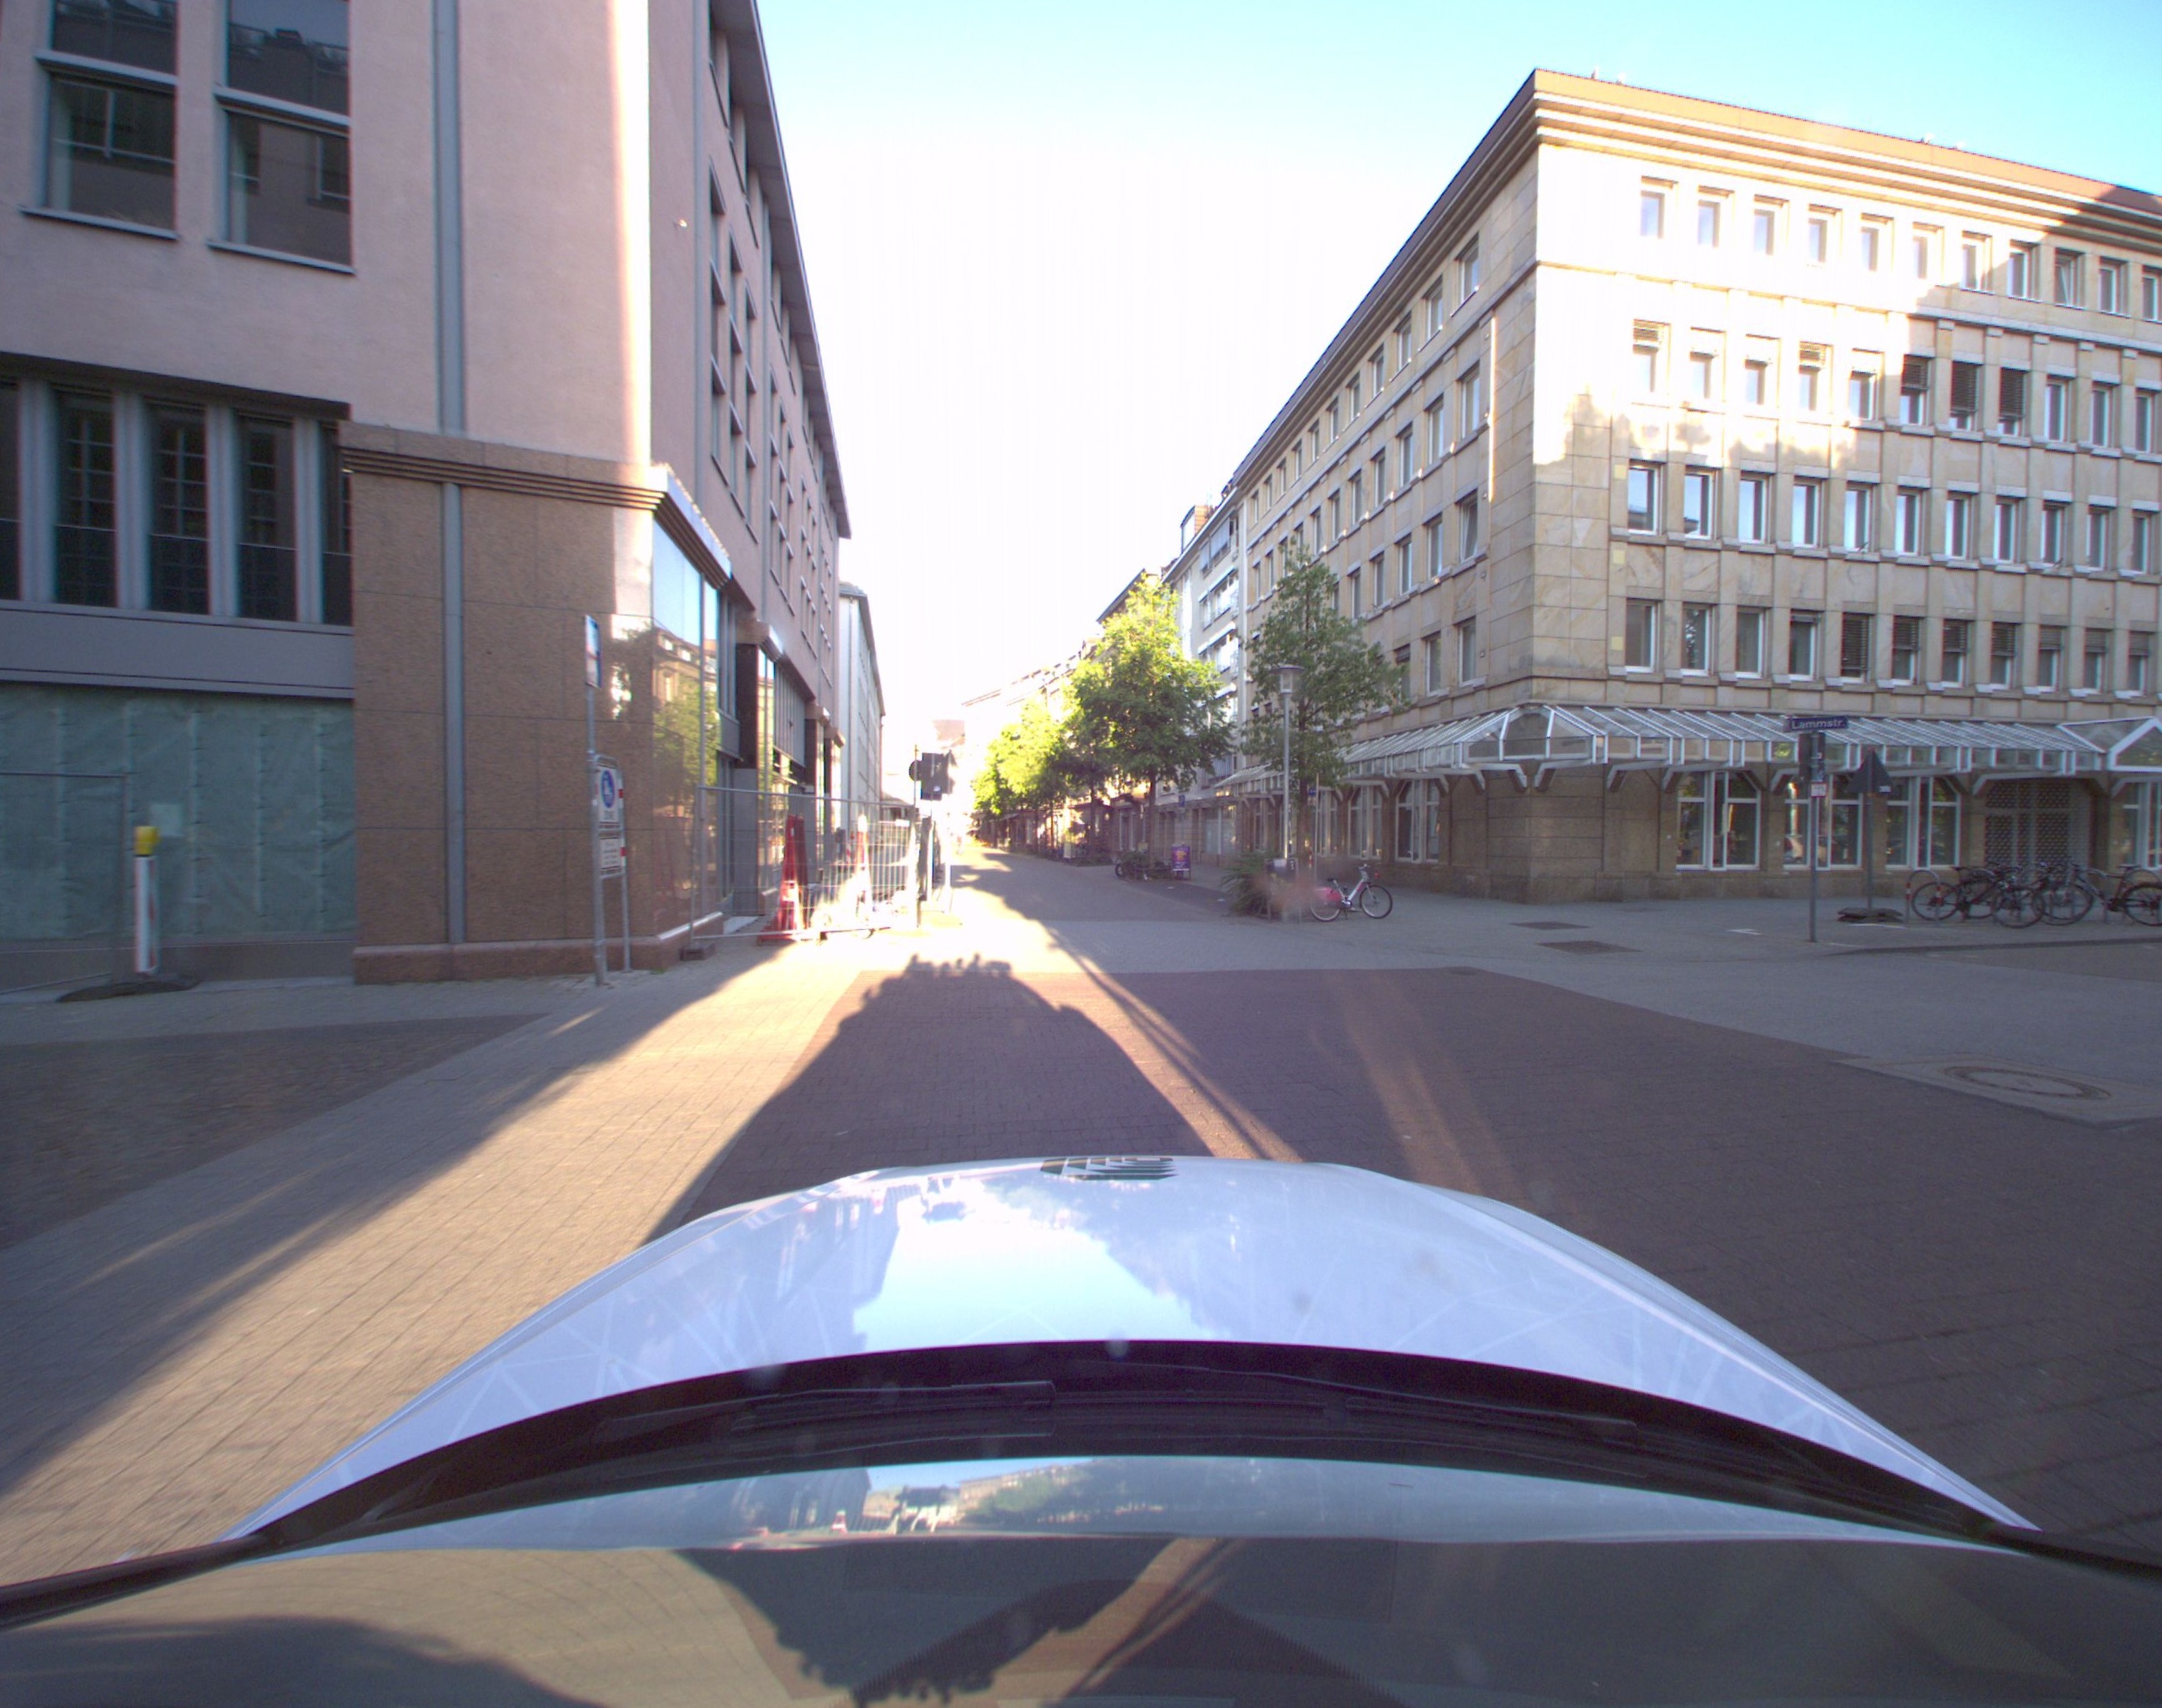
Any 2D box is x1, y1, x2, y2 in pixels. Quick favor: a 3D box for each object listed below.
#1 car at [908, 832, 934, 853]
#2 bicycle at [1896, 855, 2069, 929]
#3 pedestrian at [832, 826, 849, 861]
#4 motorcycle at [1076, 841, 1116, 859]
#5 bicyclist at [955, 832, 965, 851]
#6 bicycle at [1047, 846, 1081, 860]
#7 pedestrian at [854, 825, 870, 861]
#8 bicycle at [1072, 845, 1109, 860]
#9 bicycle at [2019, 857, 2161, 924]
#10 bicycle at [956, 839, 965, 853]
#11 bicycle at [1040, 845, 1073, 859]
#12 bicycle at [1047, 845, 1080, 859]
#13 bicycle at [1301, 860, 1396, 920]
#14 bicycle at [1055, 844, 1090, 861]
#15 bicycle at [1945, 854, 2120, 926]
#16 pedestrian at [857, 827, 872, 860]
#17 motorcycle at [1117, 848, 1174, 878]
[{"bbox_3d":[-13.012,-0.965,65.979,1.845,1.683,3.627,0,1,-14],"label":"car"},{"bbox_3d":[15.023,0.600,13.660,0.542,1.050,1.944,0,3,-8],"label":"bicycle"},{"bbox_3d":[-11.827,-0.510,40.049,0.653,1.725,0.633,0,1,-5],"label":"pedestrian"},{"bbox_3d":[0.888,-0.244,48.270,2.488,1.095,0.585,0,0,-32],"label":"motorcycle"},{"bbox_3d":[-9.326,-0.976,62.779,0.722,1.468,0.715,0,1,-11],"label":"bicyclist"},{"bbox_3d":[-1.131,-0.092,53.331,2.158,0.926,0.587,0,0,-17],"label":"bicycle"},{"bbox_3d":[-10.824,-0.542,40.182,0.653,1.763,0.633,0,1,-5],"label":"pedestrian"},{"bbox_3d":[0.585,-0.100,49.320,2.163,0.926,0.586,0,0,-25],"label":"bicycle"},{"bbox_3d":[17.656,0.595,14.044,0.512,1.028,1.942,0,2,-10],"label":"bicycle"},{"bbox_3d":[-9.317,-0.633,62.811,0.589,1.095,2.152,0,1,-10],"label":"bicycle"},{"bbox_3d":[-1.636,-0.153,55.241,2.158,0.926,0.587,0,0,-17],"label":"bicycle"},{"bbox_3d":[-1.163,-0.123,54.313,2.158,0.926,0.587,0,0,-17],"label":"bicycle"},{"bbox_3d":[5.177,0.687,15.826,1.646,1.050,0.664,-2,2,8],"label":"bicycle"},{"bbox_3d":[-0.526,-0.097,51.165,2.143,1.061,0.591,0,0,4],"label":"bicycle"},{"bbox_3d":[16.217,0.576,13.966,0.542,1.050,1.945,0,3,-7],"label":"bicycle"},{"bbox_3d":[-10.831,-0.545,40.737,0.653,1.651,0.633,0,1,-5],"label":"pedestrian"},{"bbox_3d":[2.529,0.334,31.960,2.155,1.151,0.492,0,0,-13],"label":"motorcycle"}]
